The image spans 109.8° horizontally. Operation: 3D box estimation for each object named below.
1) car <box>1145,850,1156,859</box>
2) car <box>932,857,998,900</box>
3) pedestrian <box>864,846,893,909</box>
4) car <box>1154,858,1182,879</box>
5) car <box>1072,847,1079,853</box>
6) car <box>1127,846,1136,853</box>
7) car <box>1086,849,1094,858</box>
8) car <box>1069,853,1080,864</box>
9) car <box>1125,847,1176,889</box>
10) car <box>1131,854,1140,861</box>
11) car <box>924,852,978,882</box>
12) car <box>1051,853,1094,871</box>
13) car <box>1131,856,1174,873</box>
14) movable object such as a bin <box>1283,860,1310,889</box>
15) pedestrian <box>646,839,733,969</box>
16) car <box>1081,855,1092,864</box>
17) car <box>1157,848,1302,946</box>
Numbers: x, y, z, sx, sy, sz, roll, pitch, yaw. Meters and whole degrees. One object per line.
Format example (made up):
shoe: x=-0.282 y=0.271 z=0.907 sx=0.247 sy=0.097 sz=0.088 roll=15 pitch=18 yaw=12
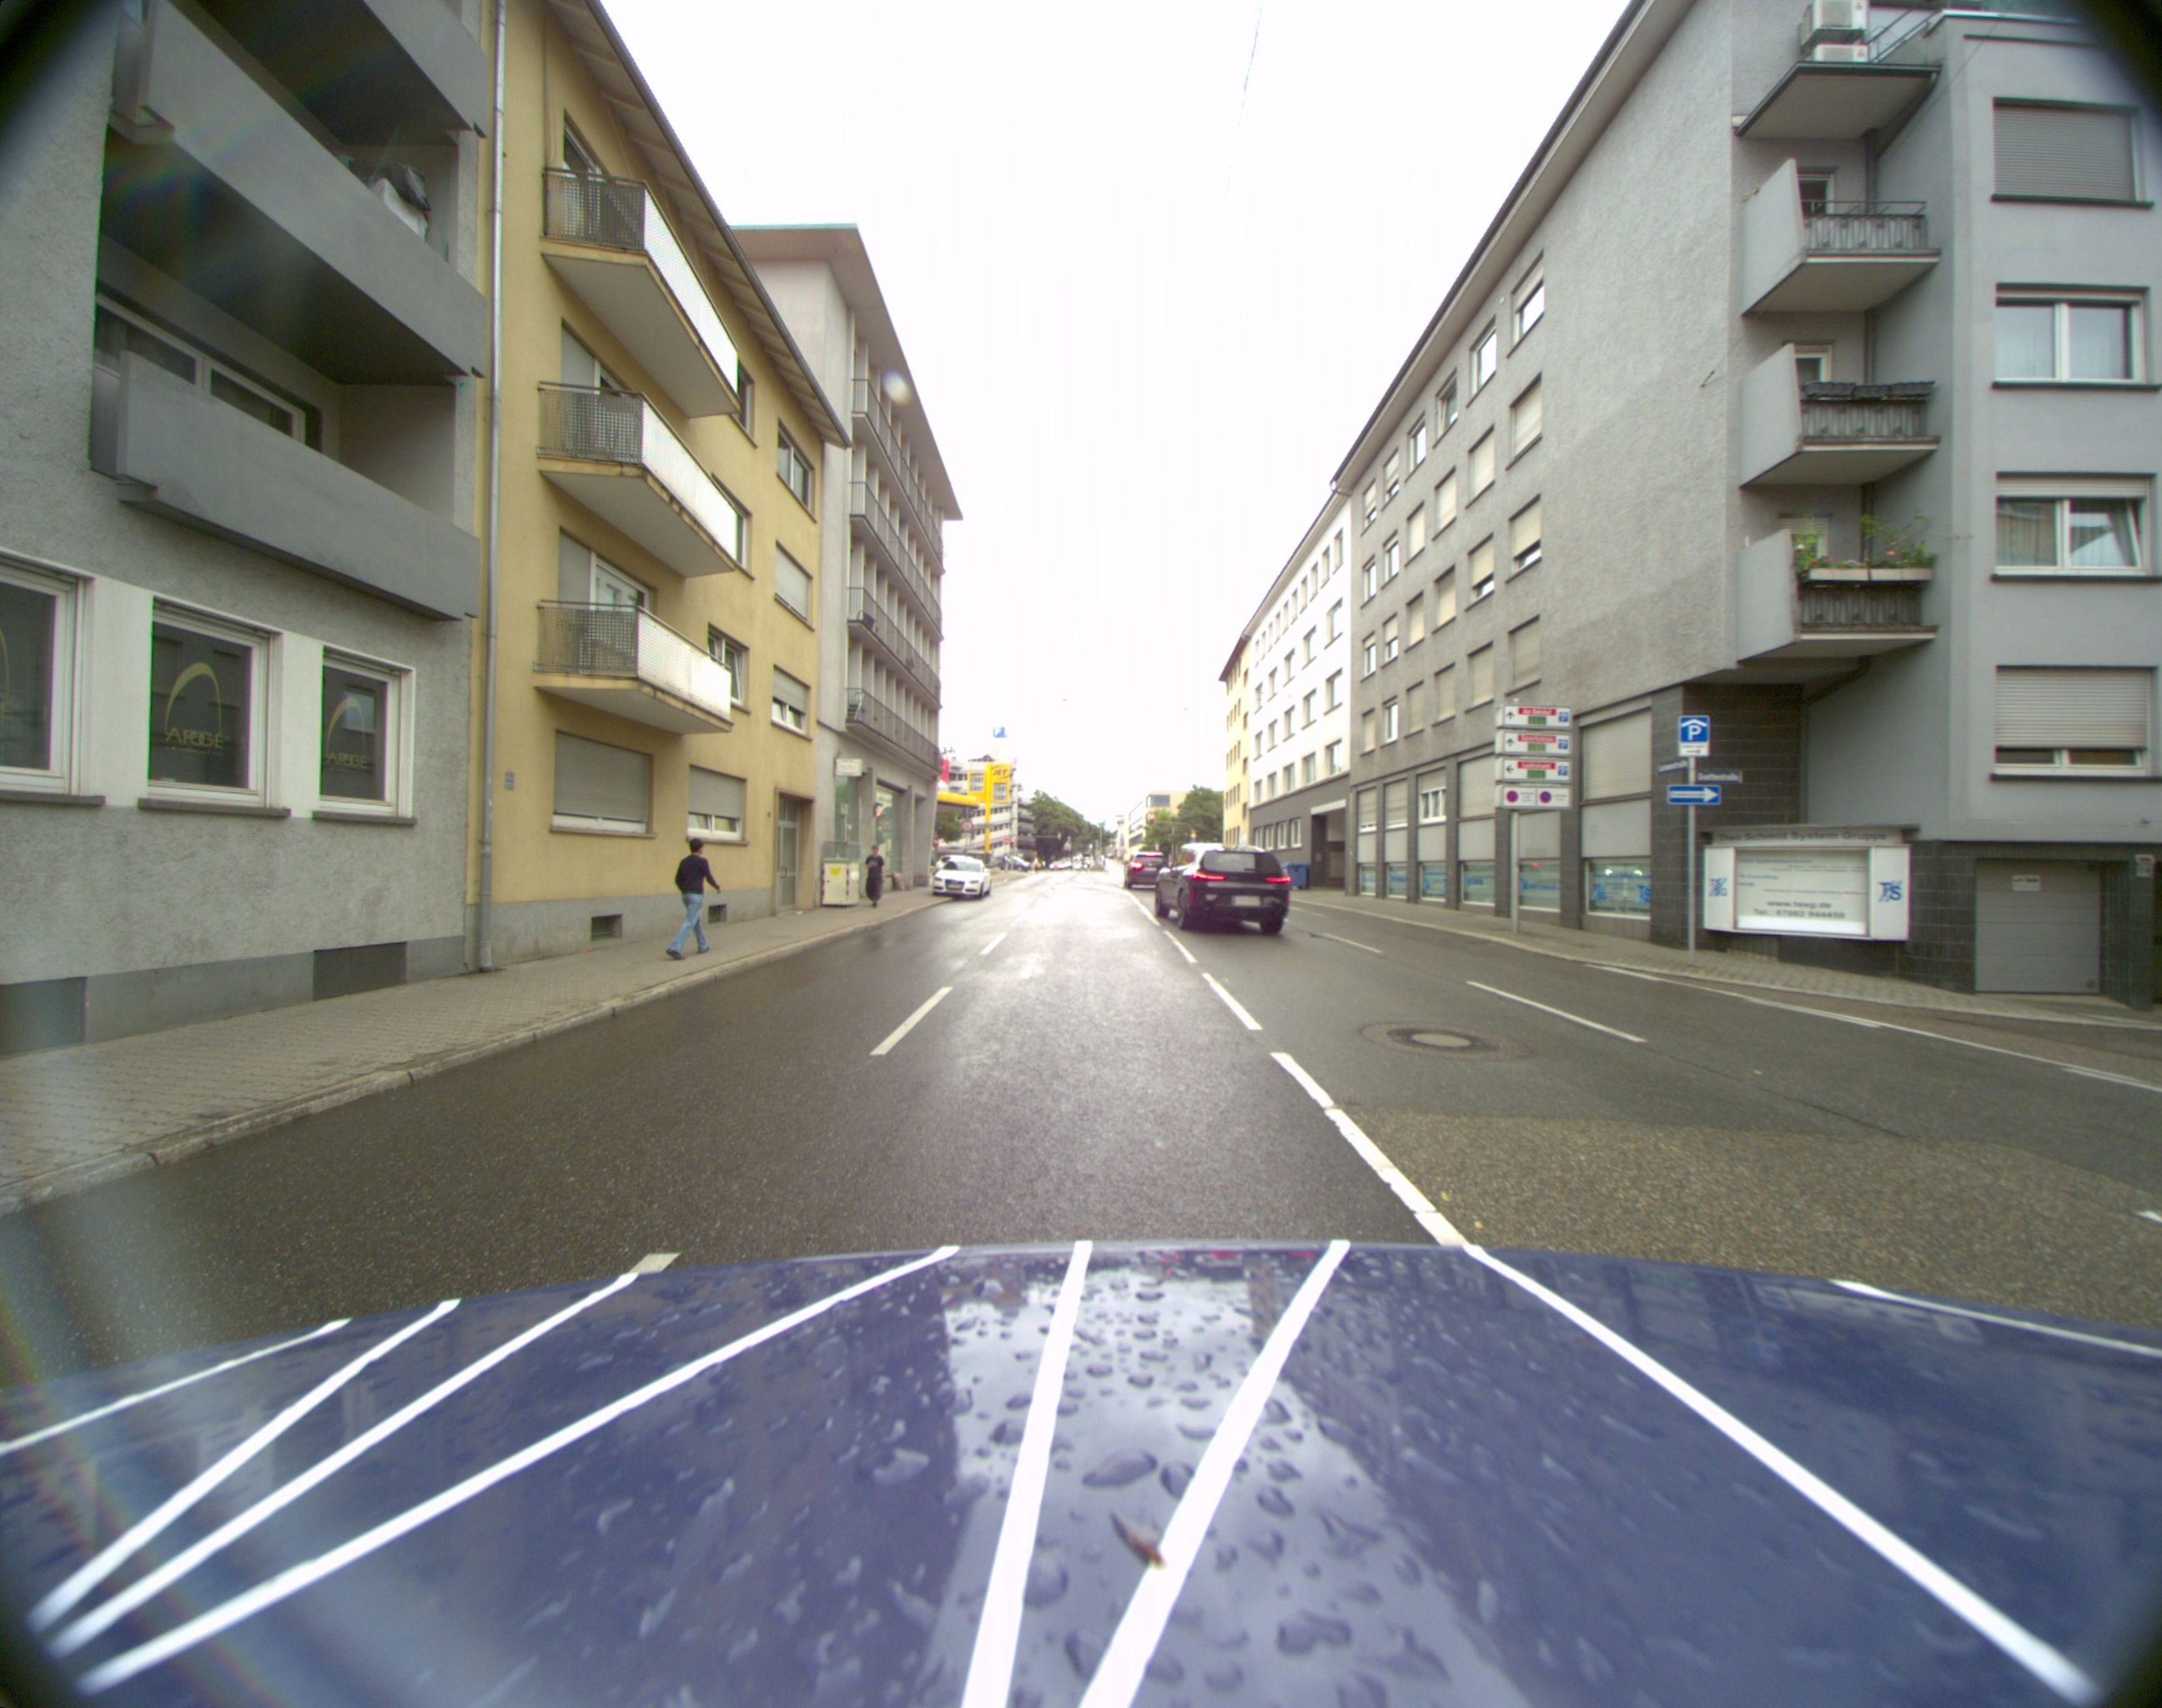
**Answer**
car: x=15.416 y=-0.006 z=168.570 sx=1.998 sy=1.863 sz=3.999 roll=-2 pitch=1 yaw=0
car: x=-4.367 y=0.878 z=29.085 sx=1.803 sy=1.427 sz=4.166 roll=1 pitch=0 yaw=1
pedestrian: x=-5.774 y=0.649 z=21.685 sx=0.679 sy=1.745 sz=0.887 roll=1 pitch=1 yaw=-7
car: x=7.110 y=1.157 z=62.341 sx=1.883 sy=1.580 sz=4.373 roll=0 pitch=0 yaw=1
car: x=-1.886 y=-1.358 z=257.745 sx=1.998 sy=1.827 sz=3.999 roll=-2 pitch=1 yaw=1
car: x=12.854 y=-1.117 z=192.910 sx=1.998 sy=1.683 sz=4.000 roll=-2 pitch=1 yaw=2
car: x=2.132 y=-0.058 z=179.529 sx=1.998 sy=2.002 sz=3.999 roll=-2 pitch=1 yaw=1
car: x=-1.316 y=0.911 z=148.464 sx=1.998 sy=2.002 sz=3.999 roll=-2 pitch=1 yaw=0
car: x=3.097 y=0.582 z=34.564 sx=1.841 sy=1.717 sz=4.474 roll=3 pitch=0 yaw=0
car: x=13.289 y=0.825 z=186.641 sx=1.998 sy=1.683 sz=4.000 roll=-2 pitch=1 yaw=2
car: x=-7.222 y=0.710 z=41.963 sx=1.774 sy=1.465 sz=3.991 roll=-3 pitch=0 yaw=-28
car: x=-0.814 y=0.767 z=75.843 sx=3.994 sy=1.751 sz=2.001 roll=1 pitch=1 yaw=9
car: x=6.892 y=1.010 z=73.471 sx=3.996 sy=1.499 sz=1.738 roll=1 pitch=1 yaw=2
movable object such as a bin: x=10.416 y=0.992 z=36.768 sx=0.946 sy=1.325 sz=1.096 roll=-3 pitch=1 yaw=1
pedestrian: x=-5.661 y=0.691 z=11.037 sx=0.644 sy=1.768 sz=1.056 roll=3 pitch=1 yaw=0
car: x=1.131 y=1.057 z=153.060 sx=1.999 sy=1.736 sz=3.998 roll=-2 pitch=1 yaw=-2
car: x=2.968 y=0.774 z=16.323 sx=2.132 sy=1.711 sz=4.817 roll=2 pitch=0 yaw=0
